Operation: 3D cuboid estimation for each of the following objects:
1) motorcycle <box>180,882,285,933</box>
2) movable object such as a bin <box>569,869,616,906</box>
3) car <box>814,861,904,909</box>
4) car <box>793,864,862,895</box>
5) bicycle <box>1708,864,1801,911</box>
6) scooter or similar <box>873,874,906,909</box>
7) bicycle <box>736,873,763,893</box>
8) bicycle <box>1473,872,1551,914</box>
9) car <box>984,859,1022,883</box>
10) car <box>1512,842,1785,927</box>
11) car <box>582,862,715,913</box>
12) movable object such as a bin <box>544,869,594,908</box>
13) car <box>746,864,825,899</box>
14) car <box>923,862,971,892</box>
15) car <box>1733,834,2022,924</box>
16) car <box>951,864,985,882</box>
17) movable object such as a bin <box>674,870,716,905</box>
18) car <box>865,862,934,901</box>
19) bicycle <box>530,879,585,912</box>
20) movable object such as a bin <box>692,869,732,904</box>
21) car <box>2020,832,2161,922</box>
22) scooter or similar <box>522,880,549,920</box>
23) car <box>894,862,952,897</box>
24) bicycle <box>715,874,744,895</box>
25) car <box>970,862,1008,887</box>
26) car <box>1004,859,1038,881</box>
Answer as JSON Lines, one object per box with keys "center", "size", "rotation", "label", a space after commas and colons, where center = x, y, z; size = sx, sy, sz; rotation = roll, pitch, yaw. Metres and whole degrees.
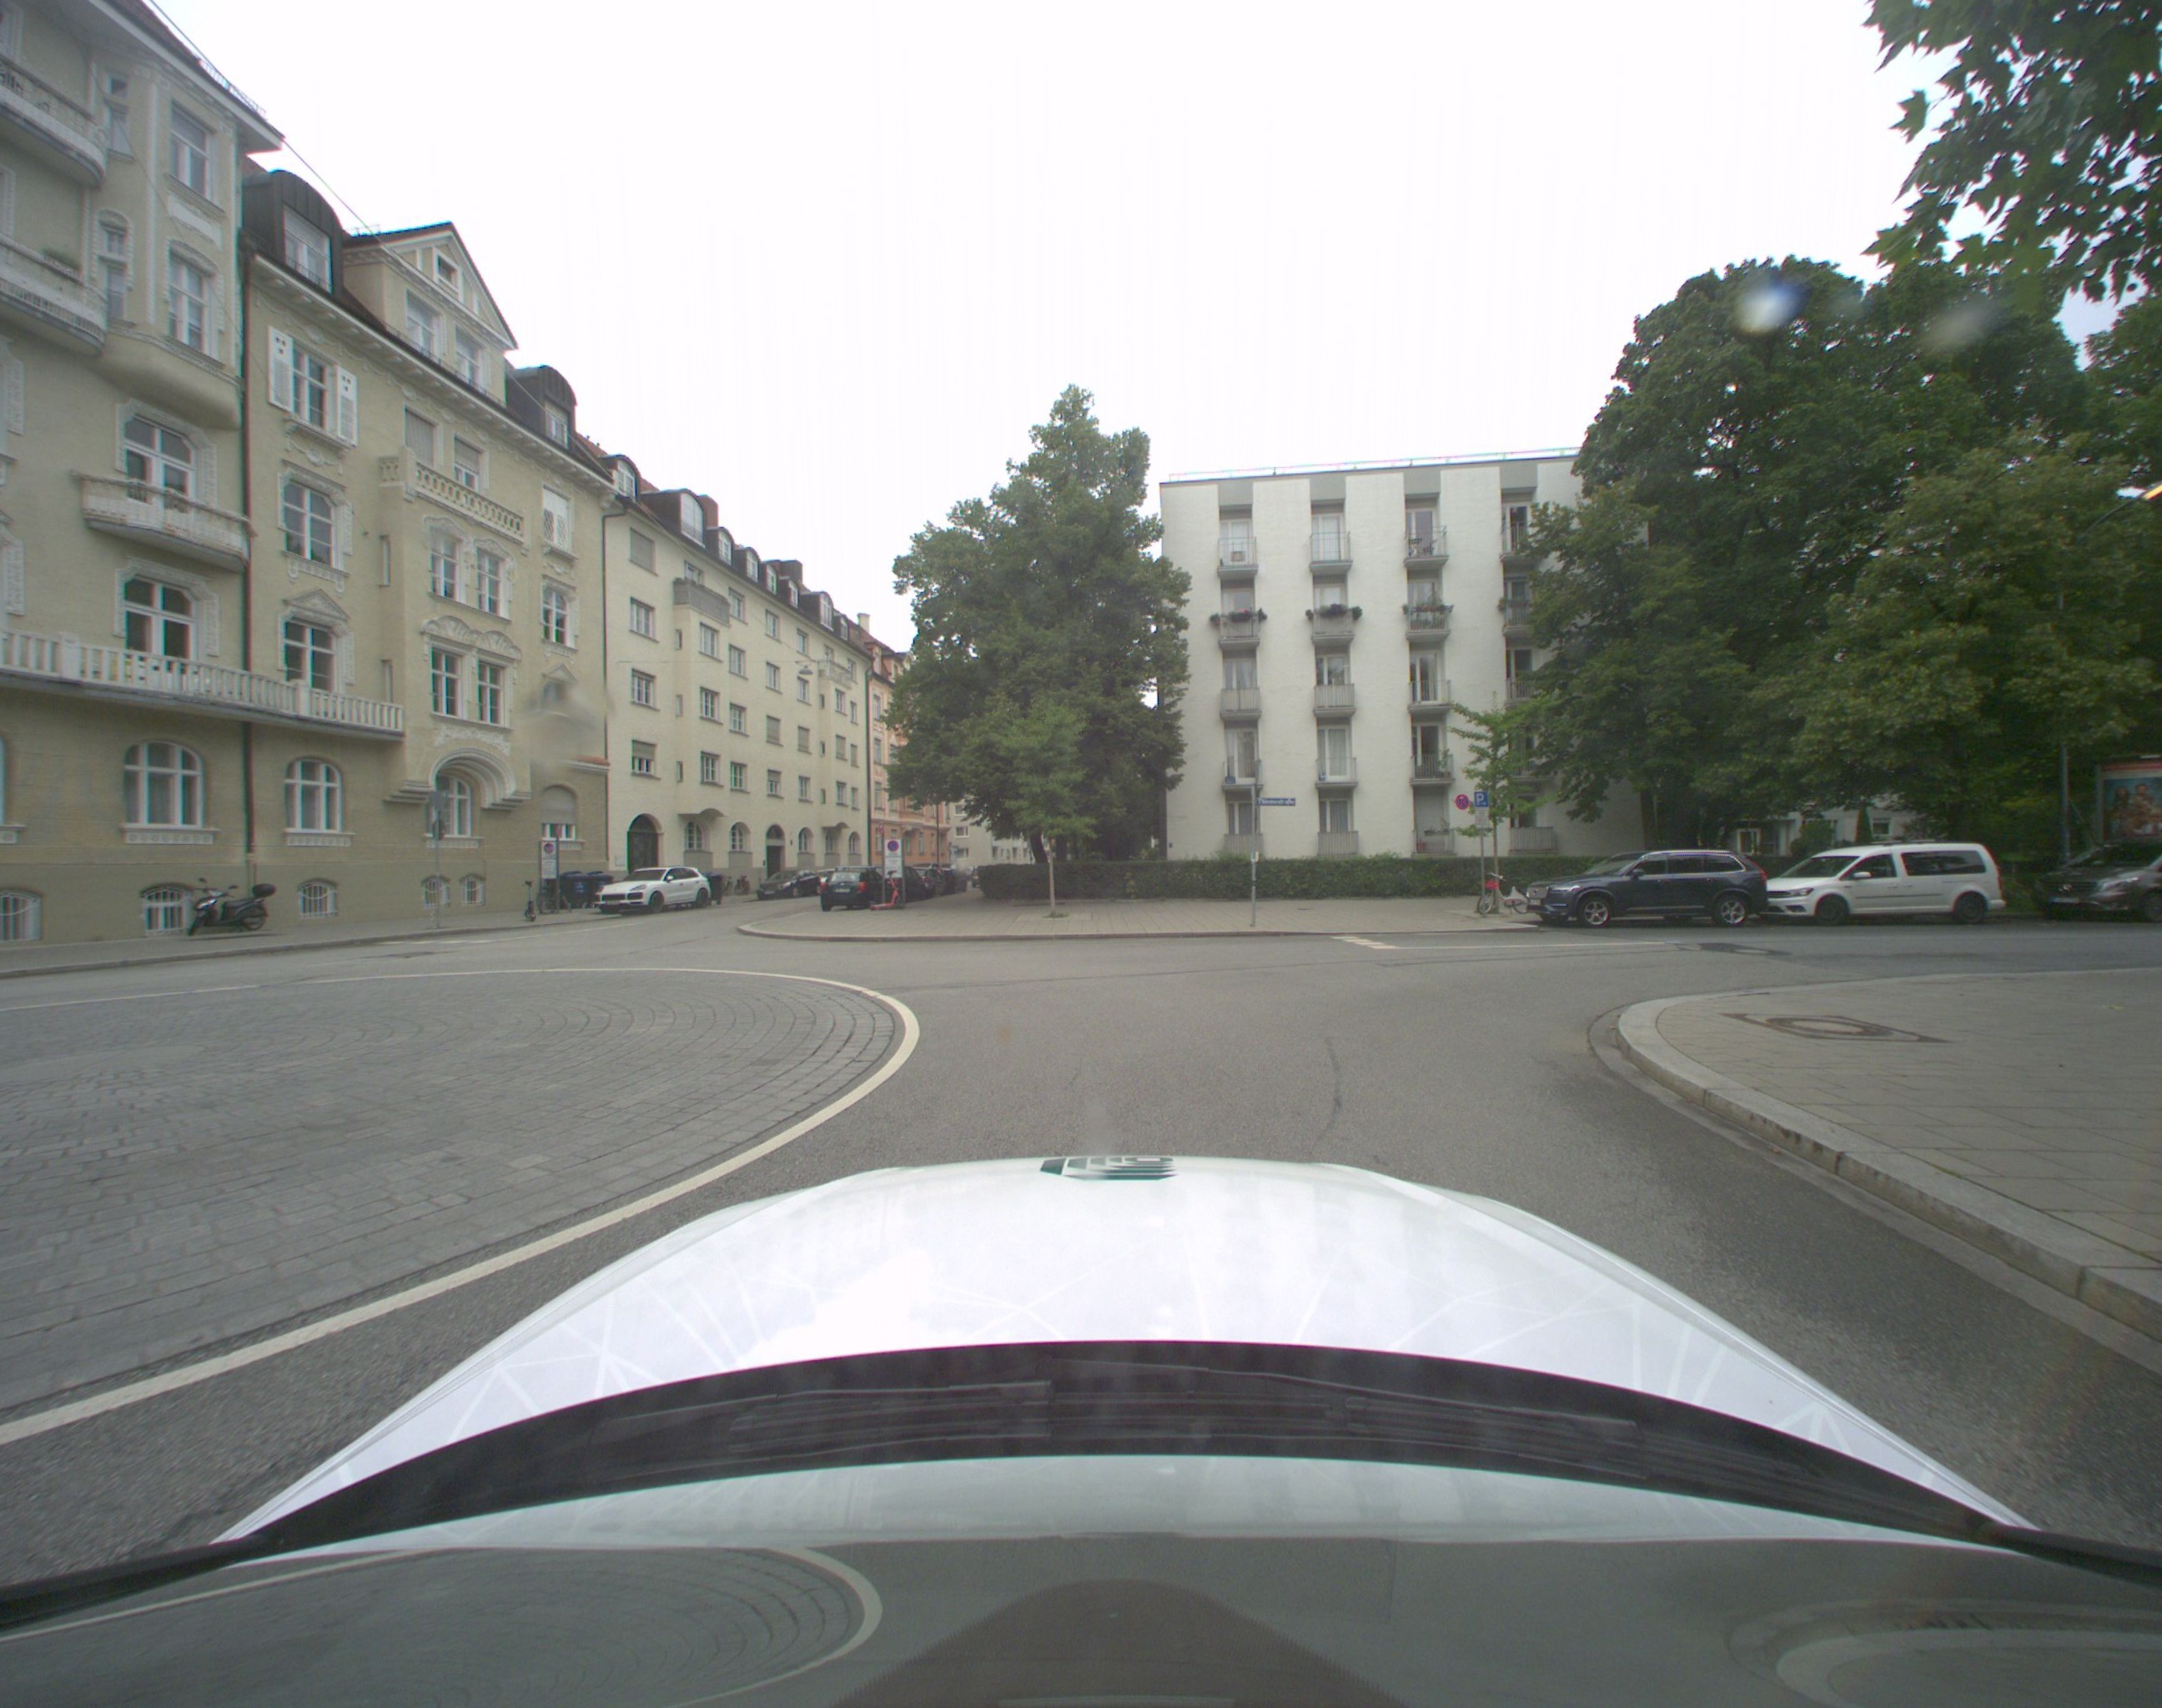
{"center": [-21.288, 1.314, 20.475], "size": [0.595, 1.176, 1.833], "rotation": [-1, 0, 6], "label": "motorcycle"}
{"center": [-19.406, 1.309, 32.386], "size": [1.084, 1.425, 1.176], "rotation": [-1, -1, 8], "label": "movable object such as a bin"}
{"center": [-7.867, 1.058, 29.271], "size": [1.812, 1.505, 4.424], "rotation": [-2, 0, 2], "label": "car"}
{"center": [-14.153, 1.411, 45.737], "size": [1.964, 1.581, 4.418], "rotation": [-1, 0, 8], "label": "car"}
{"center": [17.373, 0.833, 21.055], "size": [0.538, 1.149, 1.818], "rotation": [-1, 0, -20], "label": "bicycle"}
{"center": [-6.186, 1.194, 26.321], "size": [1.002, 1.088, 0.388], "rotation": [0, -1, -21], "label": "scooter or similar"}
{"center": [-18.434, 1.600, 45.304], "size": [0.560, 1.049, 1.833], "rotation": [-1, 0, 6], "label": "bicycle"}
{"center": [11.365, 1.018, 21.486], "size": [1.821, 1.049, 0.491], "rotation": [-1, -1, -4], "label": "bicycle"}
{"center": [-5.746, 1.271, 60.598], "size": [1.825, 1.634, 4.124], "rotation": [-2, 0, 8], "label": "car"}
{"center": [12.963, 0.703, 18.866], "size": [4.878, 1.792, 2.001], "rotation": [-1, -2, 2], "label": "car"}
{"center": [-15.952, 1.165, 30.362], "size": [1.965, 1.701, 4.849], "rotation": [-1, 0, 6], "label": "car"}
{"center": [-19.589, 1.316, 31.200], "size": [1.084, 1.425, 1.176], "rotation": [-1, -1, 8], "label": "movable object such as a bin"}
{"center": [-14.702, 1.337, 40.874], "size": [1.967, 1.616, 4.717], "rotation": [-1, 0, 4], "label": "car"}
{"center": [-7.347, 1.247, 44.923], "size": [1.786, 1.505, 4.117], "rotation": [-2, 0, 2], "label": "car"}
{"center": [18.249, 0.575, 18.846], "size": [4.816, 1.918, 1.836], "rotation": [-1, -2, 1], "label": "car"}
{"center": [-10.460, 1.751, 75.835], "size": [1.964, 1.581, 4.418], "rotation": [-1, 0, 8], "label": "car"}
{"center": [-15.968, 1.374, 33.736], "size": [1.084, 1.425, 1.176], "rotation": [-1, -1, 8], "label": "movable object such as a bin"}
{"center": [-7.616, 1.115, 34.533], "size": [1.786, 1.505, 4.236], "rotation": [-2, 0, 2], "label": "car"}
{"center": [-18.123, 1.430, 28.218], "size": [0.560, 1.049, 1.833], "rotation": [-1, 0, 6], "label": "bicycle"}
{"center": [-15.799, 1.388, 34.918], "size": [1.084, 1.425, 1.176], "rotation": [-1, -1, 8], "label": "movable object such as a bin"}
{"center": [25.196, 0.487, 18.725], "size": [5.178, 1.933, 1.892], "rotation": [-1, -2, -3], "label": "car"}
{"center": [-16.895, 1.419, 25.214], "size": [0.470, 1.193, 1.200], "rotation": [0, -1, -44], "label": "scooter or similar"}
{"center": [-7.524, 1.173, 39.127], "size": [1.786, 1.505, 4.117], "rotation": [-2, 0, 2], "label": "car"}
{"center": [-18.654, 1.586, 43.293], "size": [0.560, 1.049, 1.833], "rotation": [-1, 0, 6], "label": "bicycle"}
{"center": [-6.297, 1.379, 56.008], "size": [1.827, 1.505, 4.119], "rotation": [-2, 0, 4], "label": "car"}
{"center": [-4.876, 1.280, 66.214], "size": [1.824, 1.634, 3.830], "rotation": [-2, -1, 9], "label": "car"}
